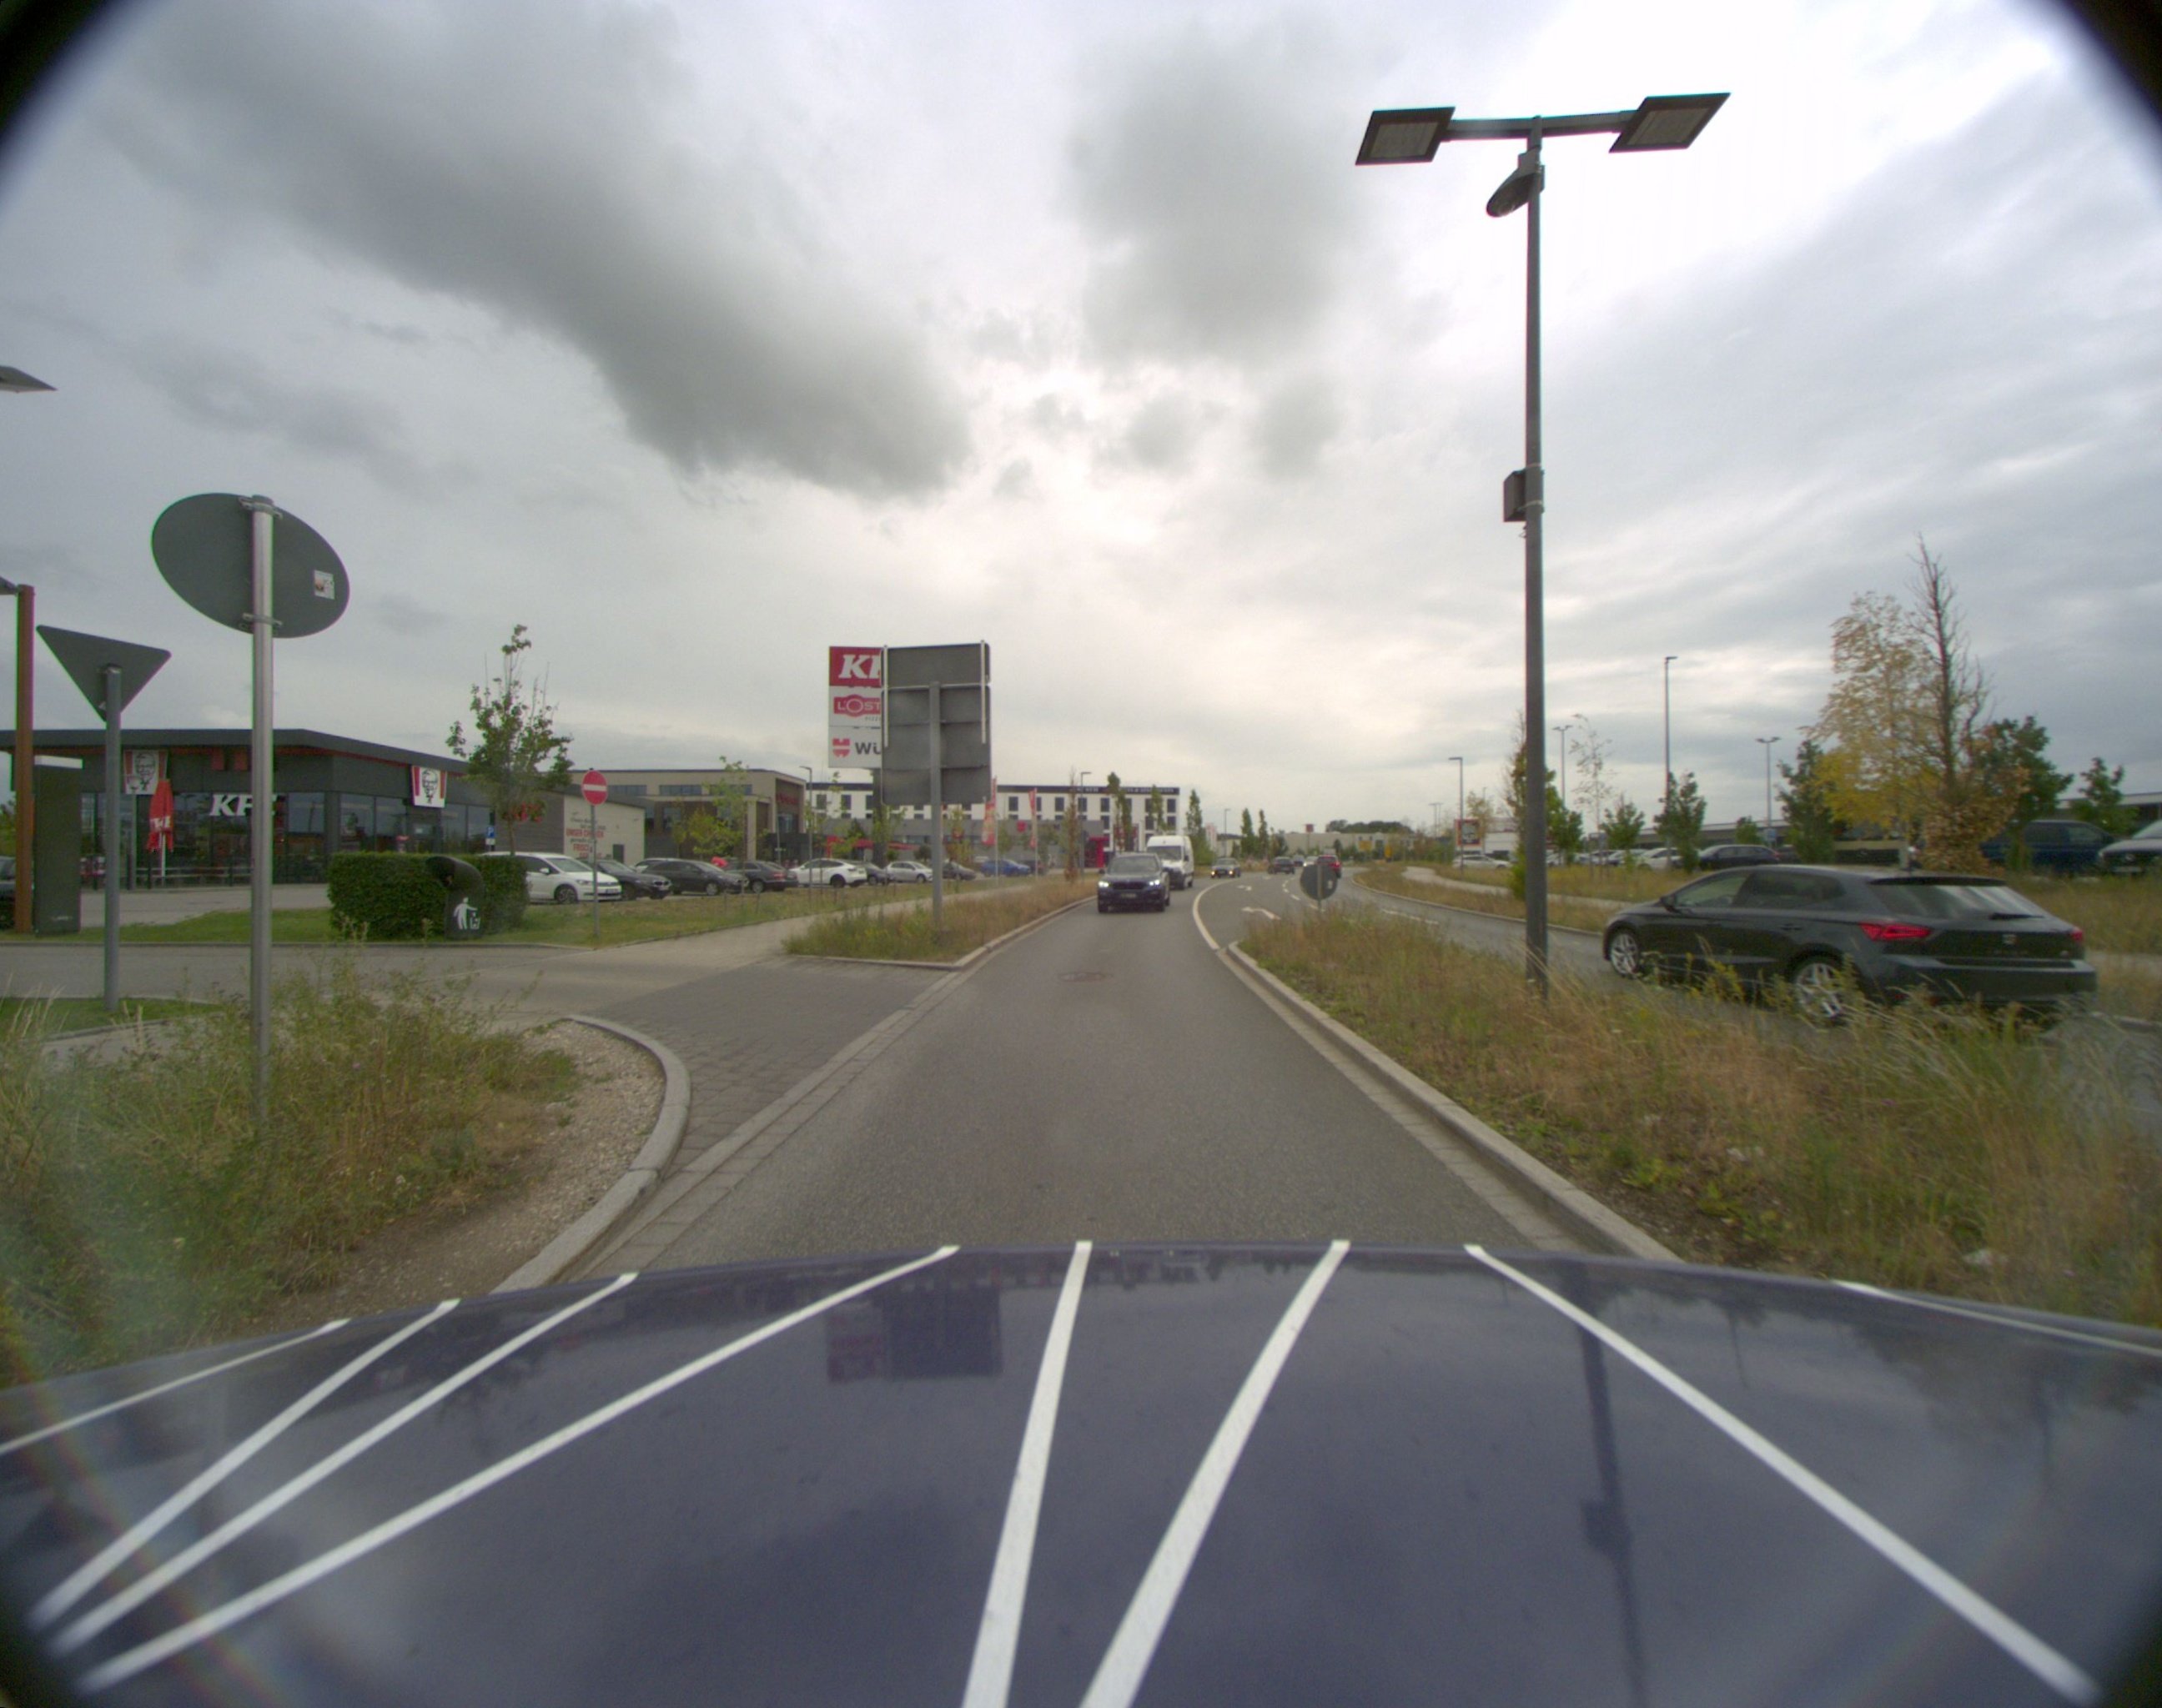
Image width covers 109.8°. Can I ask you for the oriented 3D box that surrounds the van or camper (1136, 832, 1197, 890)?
[{"bbox_3d":[4.300,0.343,37.293,2.261,2.601,5.703,0,0,14],"label":"van or camper"}]

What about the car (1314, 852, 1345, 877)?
[{"bbox_3d":[17.835,0.707,54.718,1.801,1.659,4.332,2,0,14],"label":"car"}]

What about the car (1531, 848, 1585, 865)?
[{"bbox_3d":[47.651,0.275,75.974,4.304,1.645,2.084,0,0,21],"label":"car"}]

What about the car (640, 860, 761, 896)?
[{"bbox_3d":[-15.796,0.980,31.668,4.092,1.429,1.944,0,0,6],"label":"car"}]

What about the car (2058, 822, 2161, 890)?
[{"bbox_3d":[28.358,0.025,19.111,4.914,1.607,1.995,-1,0,1],"label":"car"}]

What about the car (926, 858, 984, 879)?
[{"bbox_3d":[-9.204,1.040,55.502,3.762,1.485,1.893,0,0,20],"label":"car"}]

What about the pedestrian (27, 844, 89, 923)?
[{"bbox_3d":[-23.590,0.664,17.537,0.472,1.795,0.799,0,0,-21],"label":"pedestrian"}]

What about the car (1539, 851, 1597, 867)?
[{"bbox_3d":[45.657,0.495,71.345,4.322,1.448,2.014,0,0,22],"label":"car"}]

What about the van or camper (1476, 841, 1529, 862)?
[{"bbox_3d":[56.607,-0.309,102.253,5.860,2.783,2.245,0,1,14],"label":"van or camper"}]

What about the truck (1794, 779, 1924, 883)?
[{"bbox_3d":[30.268,-0.789,29.895,2.851,3.520,8.447,-1,0,41],"label":"truck"}]

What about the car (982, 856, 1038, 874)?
[{"bbox_3d":[-6.046,0.935,64.788,4.266,1.511,1.969,-1,0,22],"label":"car"}]

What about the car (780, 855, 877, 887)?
[{"bbox_3d":[-13.773,0.901,41.490,4.568,1.635,2.091,1,0,13],"label":"car"}]

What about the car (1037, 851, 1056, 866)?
[{"bbox_3d":[-4.710,0.586,102.729,2.000,1.975,4.632,0,0,-9],"label":"car"}]

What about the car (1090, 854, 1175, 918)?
[{"bbox_3d":[1.604,0.879,22.083,1.997,1.654,4.003,-1,-1,10],"label":"car"}]

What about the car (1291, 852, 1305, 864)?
[{"bbox_3d":[28.441,0.505,99.465,1.754,1.575,4.005,-1,0,16],"label":"car"}]

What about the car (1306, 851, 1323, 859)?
[{"bbox_3d":[60.540,0.147,197.242,4.002,2.002,1.640,-1,0,-16],"label":"car"}]

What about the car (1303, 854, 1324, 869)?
[{"bbox_3d":[23.100,0.703,75.430,1.704,1.429,4.039,0,0,21],"label":"car"}]

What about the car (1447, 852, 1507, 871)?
[{"bbox_3d":[31.745,0.607,61.076,4.182,1.460,1.889,0,0,25],"label":"car"}]

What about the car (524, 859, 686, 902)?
[{"bbox_3d":[-16.707,0.916,26.791,4.477,1.428,2.075,0,0,5],"label":"car"}]

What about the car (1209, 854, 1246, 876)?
[{"bbox_3d":[10.808,0.788,55.833,1.753,1.575,4.007,-1,0,24],"label":"car"}]

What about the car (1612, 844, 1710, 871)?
[{"bbox_3d":[34.763,0.222,45.658,4.253,1.550,1.991,0,0,14],"label":"car"}]

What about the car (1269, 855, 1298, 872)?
[{"bbox_3d":[17.068,0.772,64.175,1.833,1.411,4.248,-1,0,7],"label":"car"}]

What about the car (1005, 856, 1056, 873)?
[{"bbox_3d":[-4.466,0.941,66.936,3.990,1.485,1.985,-1,0,25],"label":"car"}]

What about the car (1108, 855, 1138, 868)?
[{"bbox_3d":[4.839,0.852,87.288,1.963,1.451,4.840,0,0,22],"label":"car"}]

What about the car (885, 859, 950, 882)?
[{"bbox_3d":[-10.963,1.084,51.012,3.865,1.473,1.905,1,0,18],"label":"car"}]

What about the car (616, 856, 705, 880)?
[{"bbox_3d":[-26.745,0.873,48.400,4.571,1.510,2.081,1,0,3],"label":"car"}]

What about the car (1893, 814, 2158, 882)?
[{"bbox_3d":[29.060,-0.161,23.603,4.909,1.978,2.181,-1,0,12],"label":"car"}]

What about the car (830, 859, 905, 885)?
[{"bbox_3d":[-13.057,1.064,46.530,3.992,1.476,1.943,0,1,17],"label":"car"}]

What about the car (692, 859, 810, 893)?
[{"bbox_3d":[-14.946,0.972,34.527,4.526,1.460,2.033,0,0,8],"label":"car"}]

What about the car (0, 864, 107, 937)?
[{"bbox_3d":[-20.604,0.845,13.589,1.812,1.305,3.858,0,0,40],"label":"car"}]

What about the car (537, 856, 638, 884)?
[{"bbox_3d":[-27.937,0.872,43.095,4.374,1.510,2.048,1,0,2],"label":"car"}]

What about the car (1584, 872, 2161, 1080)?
[{"bbox_3d":[7.279,0.954,7.633,1.845,1.399,4.000,1,0,1],"label":"car"}]

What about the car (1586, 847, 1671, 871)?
[{"bbox_3d":[36.439,0.315,50.690,4.246,1.504,2.049,-1,0,23],"label":"car"}]

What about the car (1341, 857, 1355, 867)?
[{"bbox_3d":[47.767,1.387,135.817,1.995,1.627,4.710,2,1,23],"label":"car"}]

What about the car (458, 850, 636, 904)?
[{"bbox_3d":[-16.971,0.722,24.279,4.357,1.630,1.938,0,0,2],"label":"car"}]

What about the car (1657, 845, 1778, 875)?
[{"bbox_3d":[32.140,0.319,38.522,4.237,1.426,2.000,0,0,17],"label":"car"}]
